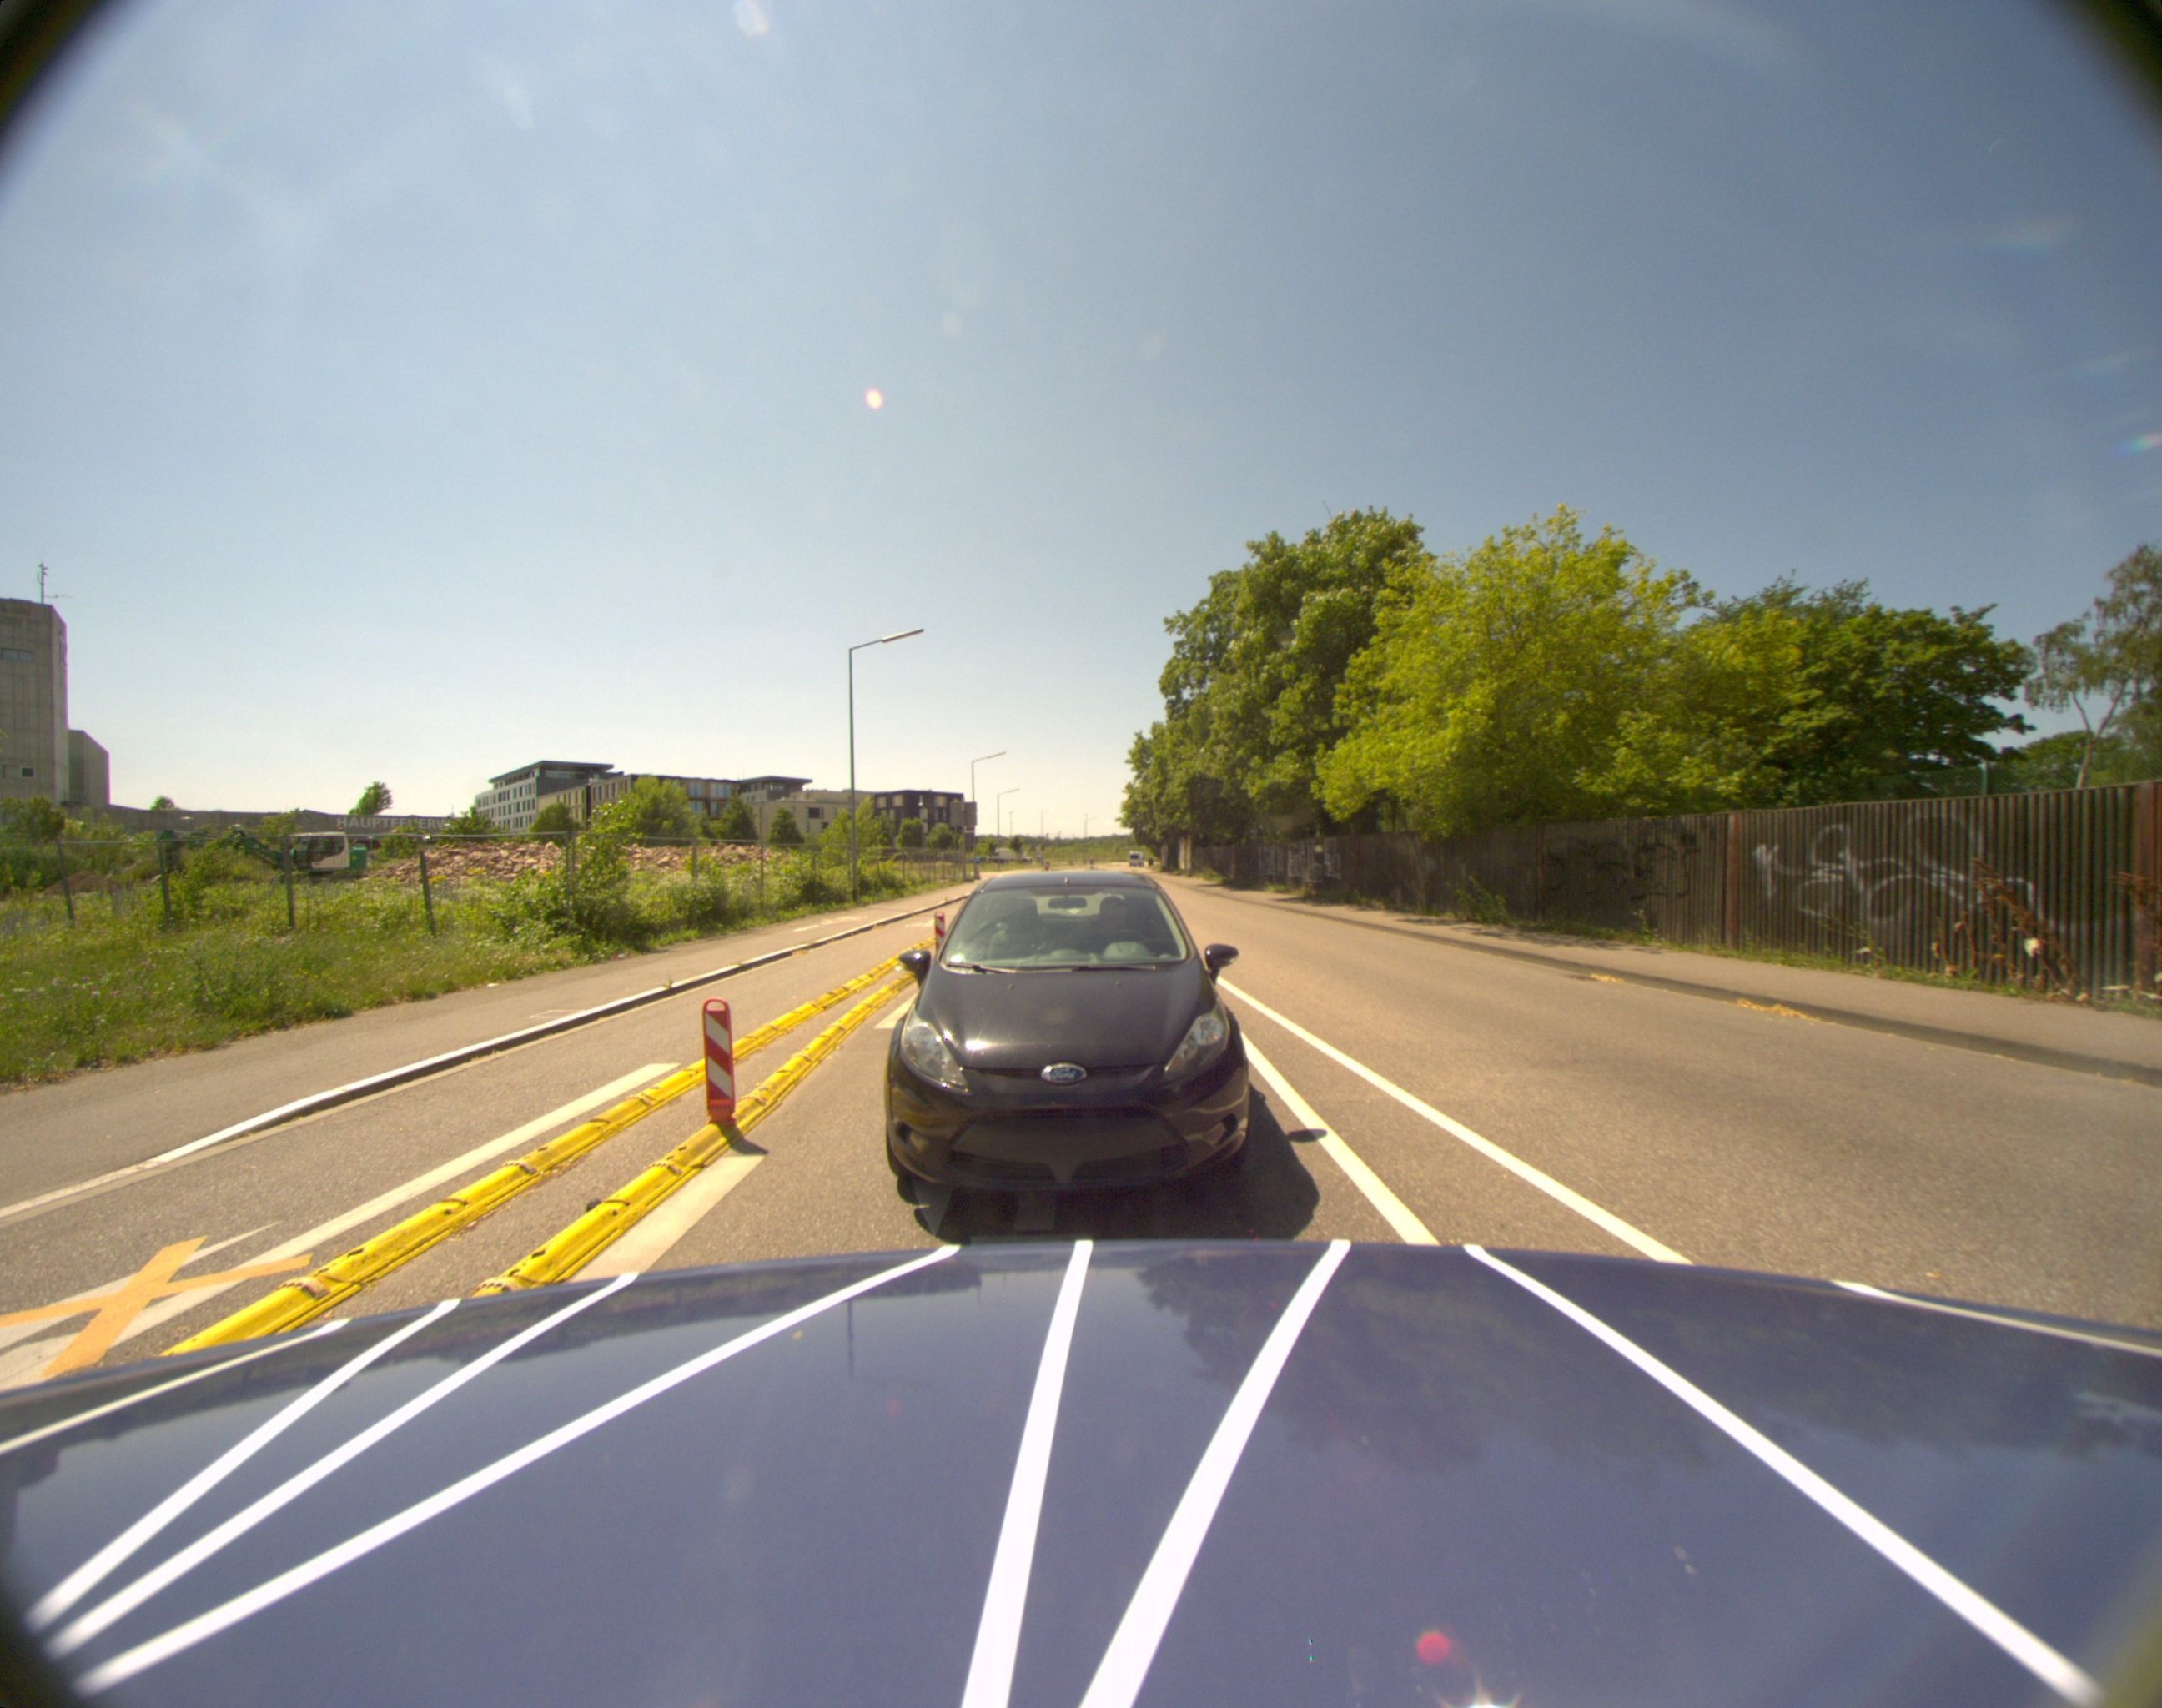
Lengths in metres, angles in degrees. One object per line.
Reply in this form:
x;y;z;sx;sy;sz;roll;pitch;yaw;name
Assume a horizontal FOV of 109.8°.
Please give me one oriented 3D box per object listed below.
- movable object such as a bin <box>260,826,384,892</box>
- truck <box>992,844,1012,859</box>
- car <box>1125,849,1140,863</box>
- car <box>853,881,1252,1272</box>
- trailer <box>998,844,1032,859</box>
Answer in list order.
-37.621;0.234;37.787;2.204;3.045;3.690;-2;1;6;movable object such as a bin
-17.859;-0.652;171.706;4.008;3.316;1.994;-1;1;-45;truck
9.033;0.346;133.687;2.025;2.524;6.825;0;0;-2;car
-0.096;0.991;5.131;1.602;1.422;4.000;-2;0;1;car
-15.102;-0.655;174.446;8.194;3.329;1.994;-1;0;-45;trailer
